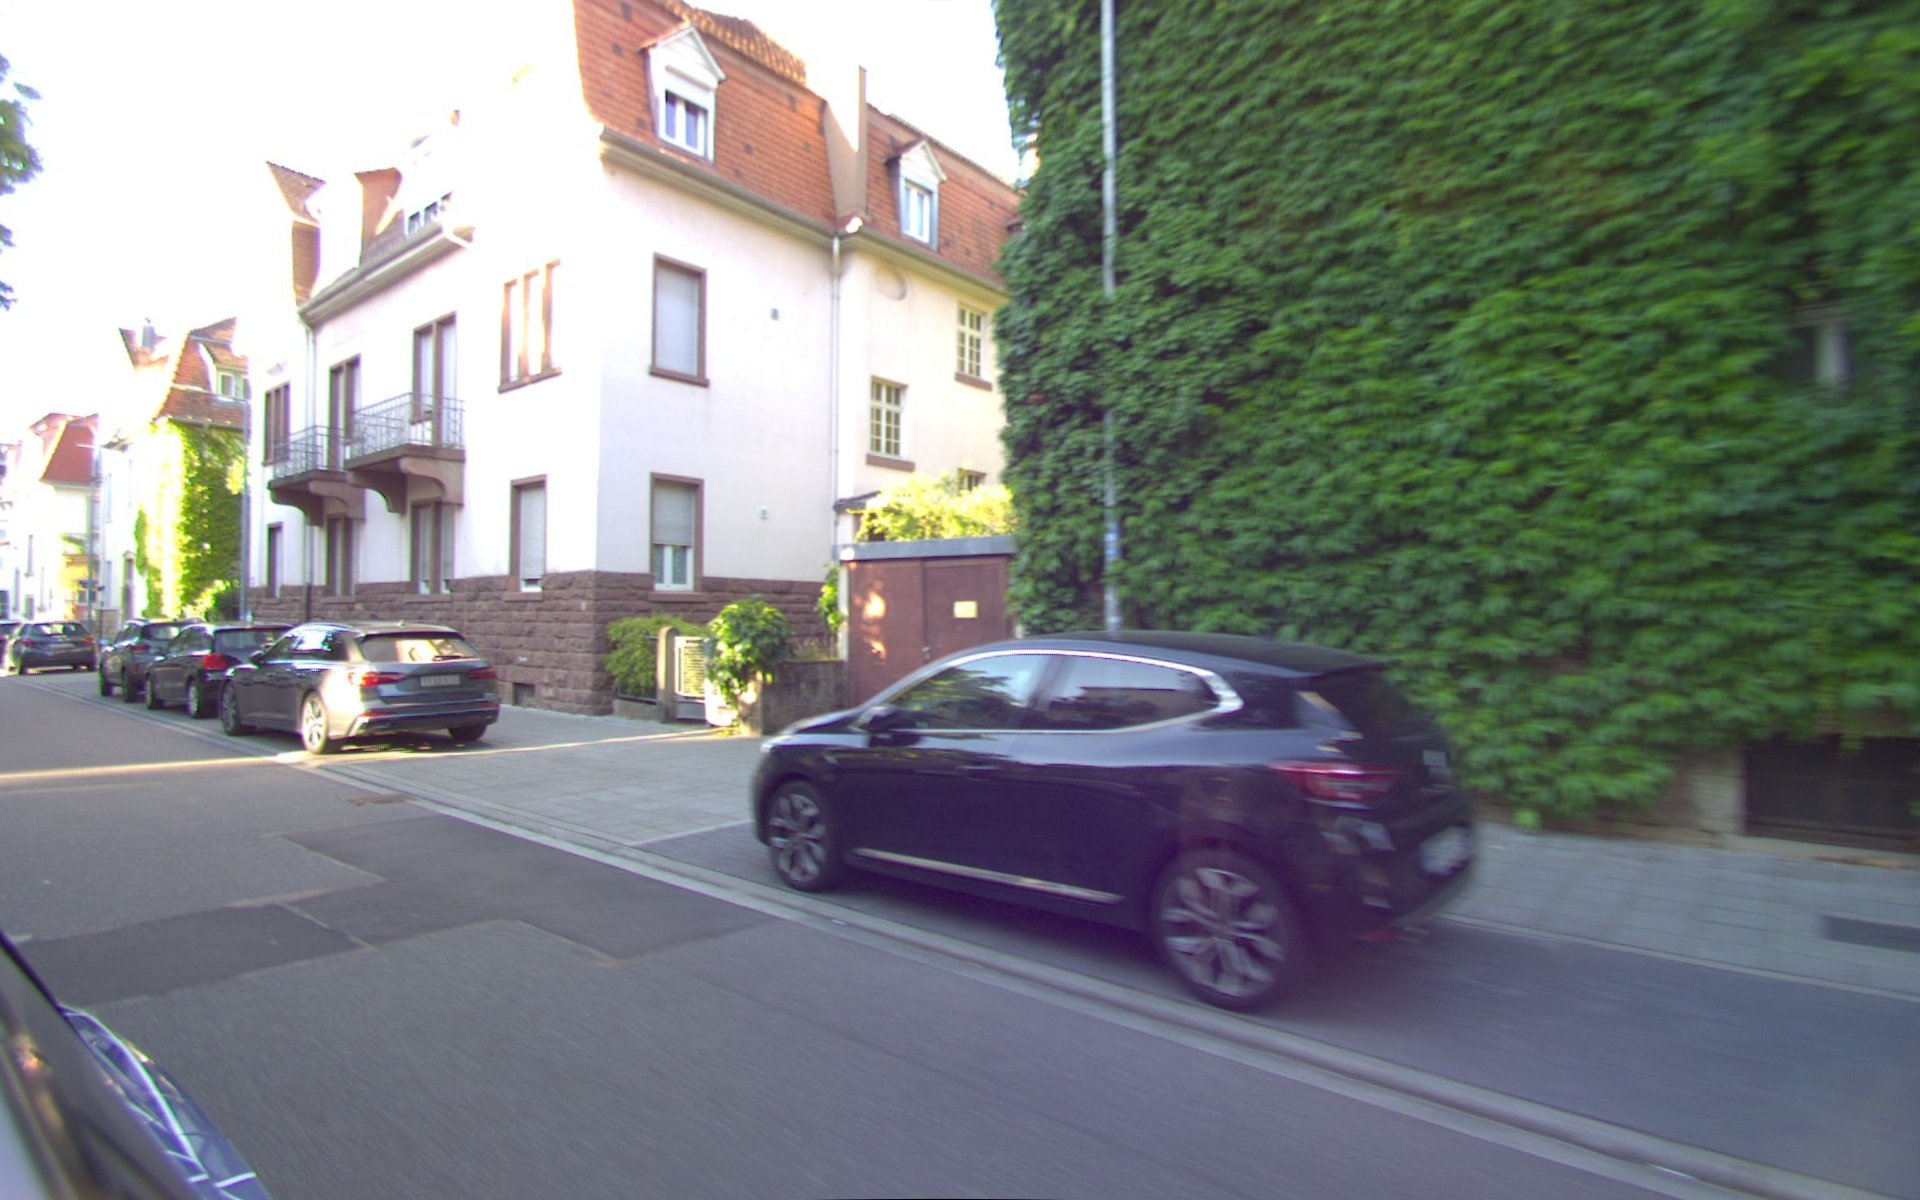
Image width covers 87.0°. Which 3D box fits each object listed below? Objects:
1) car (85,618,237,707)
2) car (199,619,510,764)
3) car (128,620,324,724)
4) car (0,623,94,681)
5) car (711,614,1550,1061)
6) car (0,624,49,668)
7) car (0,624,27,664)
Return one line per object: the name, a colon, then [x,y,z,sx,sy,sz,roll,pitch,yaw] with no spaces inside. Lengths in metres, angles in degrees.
car: [-15.411,1.127,19.455,3.762,1.497,1.636,-1,0,41]
car: [-7.634,0.986,12.559,4.772,1.472,1.775,-1,-1,39]
car: [-12.005,1.083,16.470,3.840,1.458,1.637,-1,0,39]
car: [-25.882,1.418,28.559,4.003,1.458,1.636,-1,0,41]
car: [0.587,0.817,5.307,4.097,1.431,1.632,-1,0,41]
car: [-33.225,1.572,35.283,4.165,1.426,1.637,-1,0,40]
car: [-37.343,1.673,38.778,4.629,1.481,1.692,-1,0,39]
